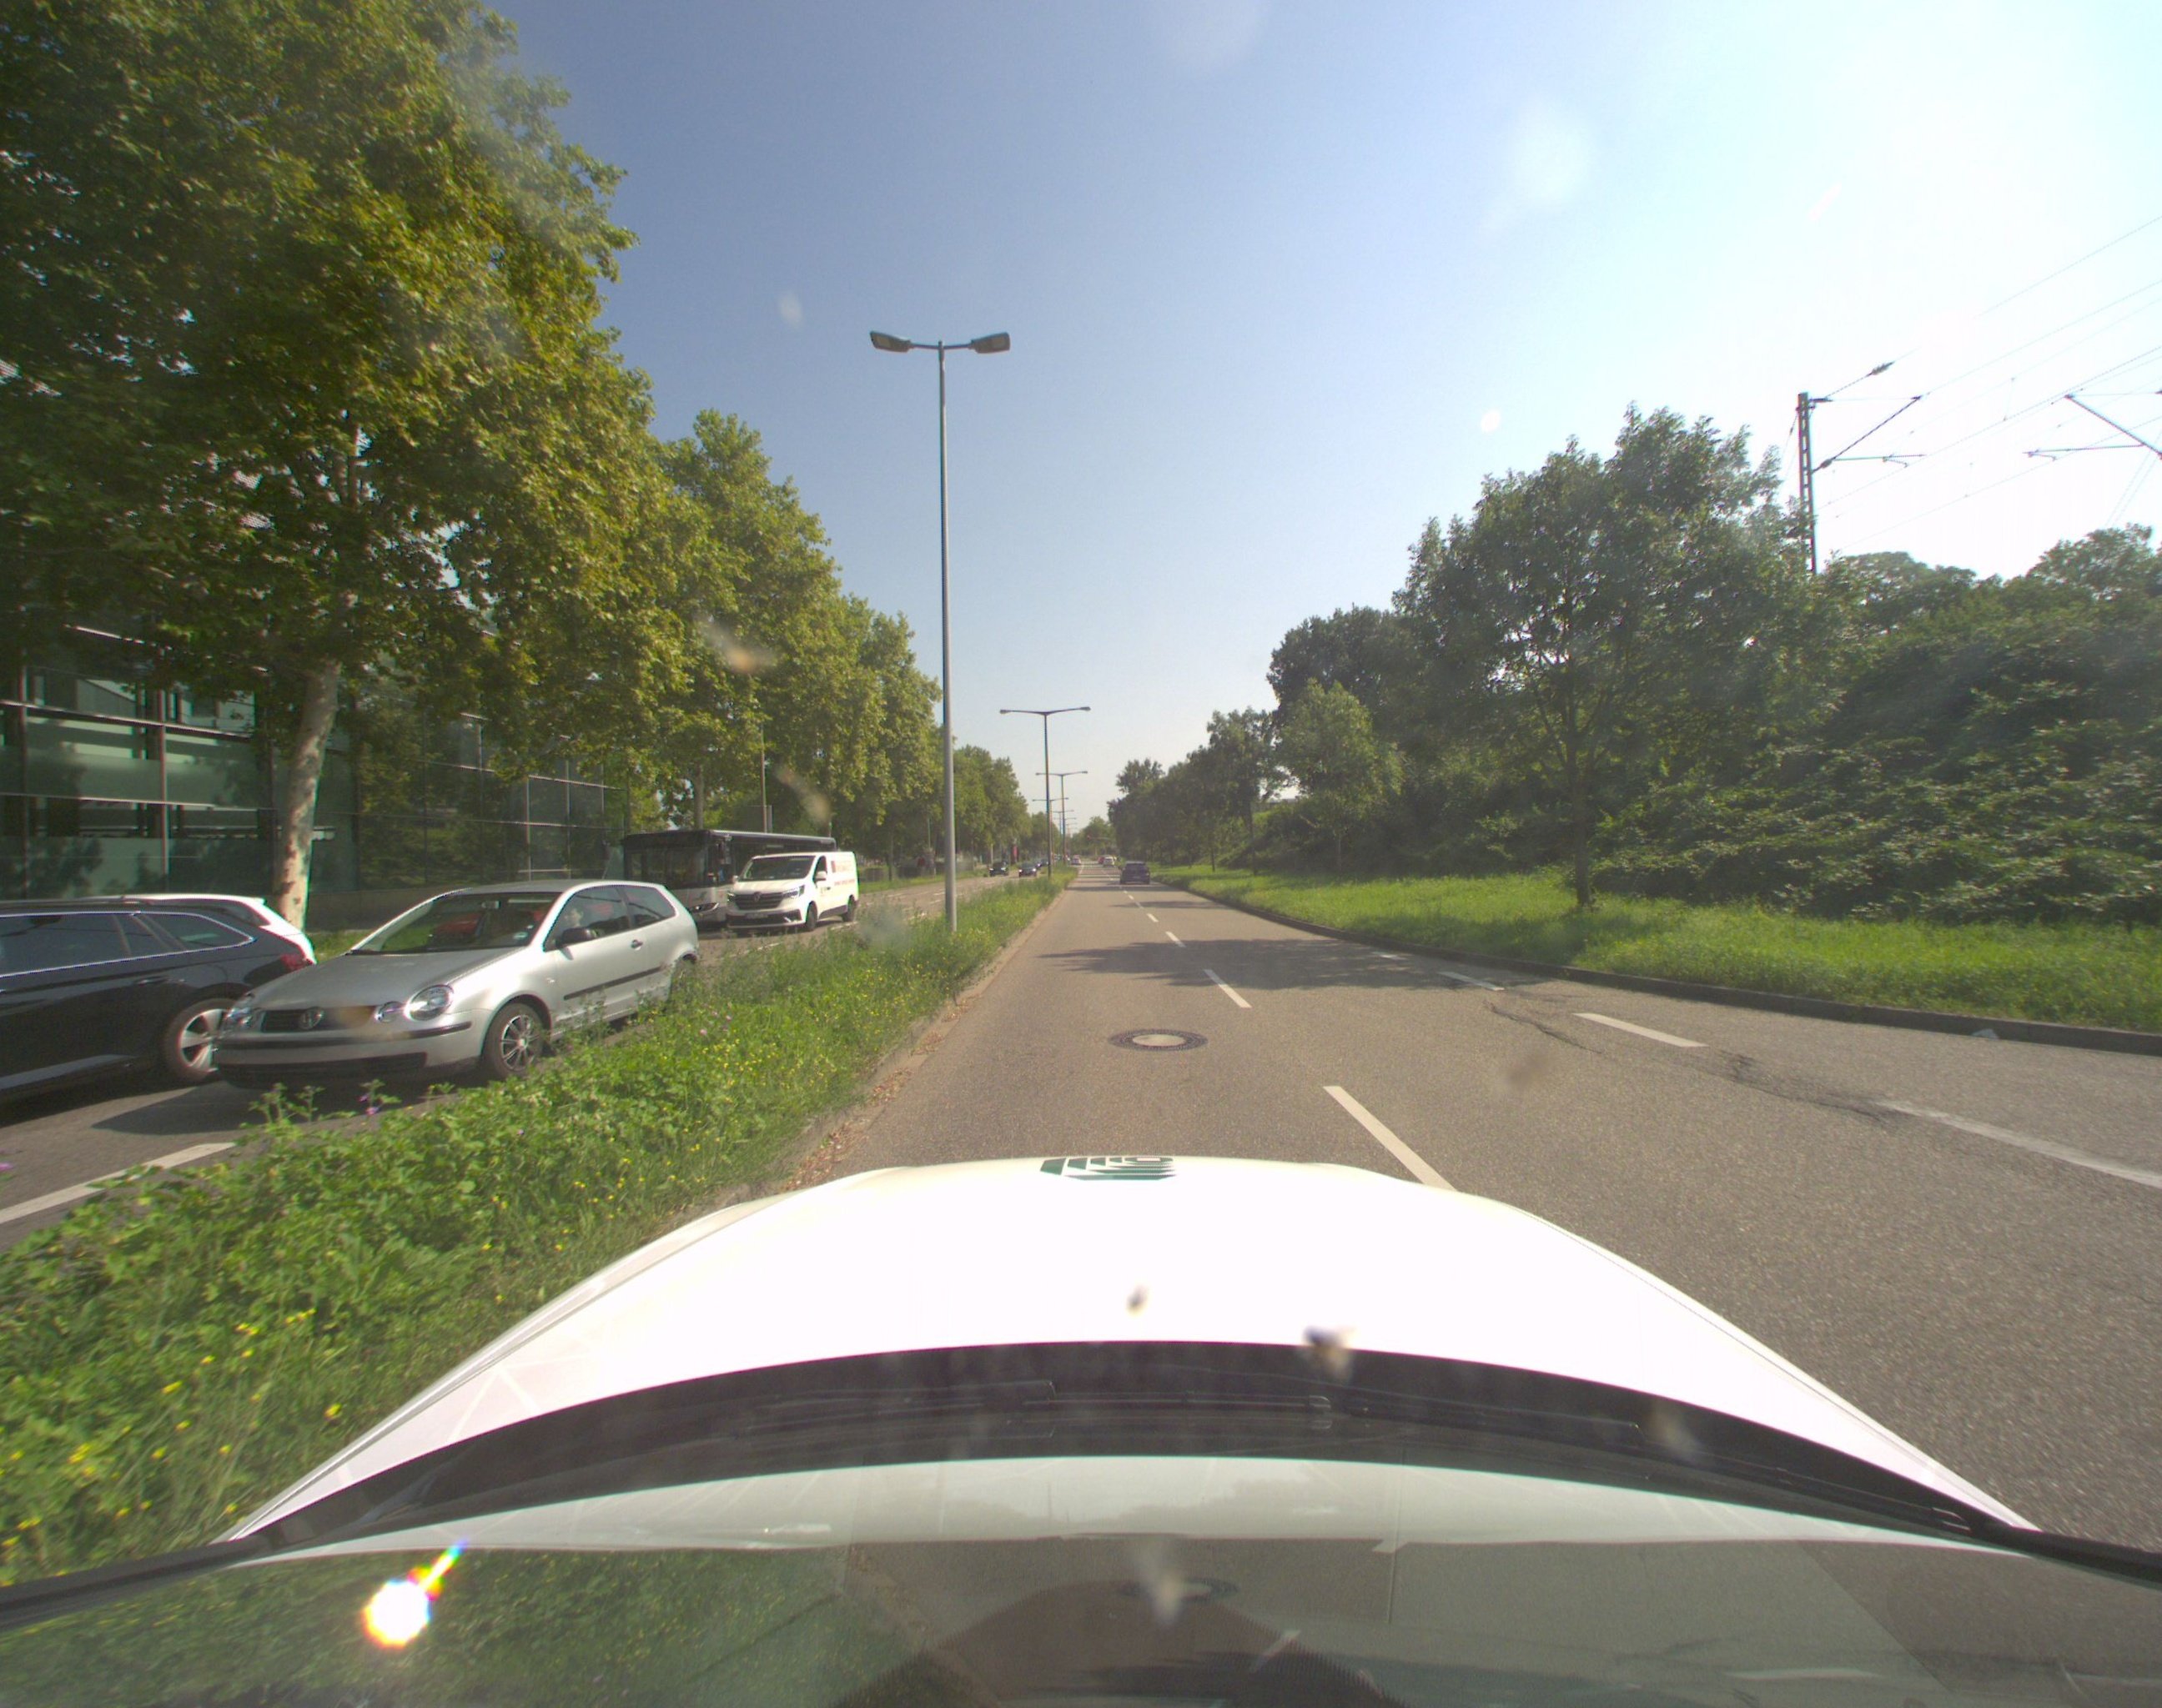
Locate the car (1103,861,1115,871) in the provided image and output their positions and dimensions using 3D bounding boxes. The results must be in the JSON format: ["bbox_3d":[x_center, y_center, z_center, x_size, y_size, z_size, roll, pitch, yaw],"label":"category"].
[{"bbox_3d":[4.804,2.035,139.947,1.987,1.654,3.999,-2,-1,0],"label":"car"}]

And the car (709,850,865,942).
[{"bbox_3d":[-7.310,0.923,20.925,1.920,1.960,5.191,-4,0,1],"label":"car"}]

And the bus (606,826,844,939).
[{"bbox_3d":[-10.600,0.811,26.099,2.653,2.694,10.904,-3,-1,0],"label":"bus"}]

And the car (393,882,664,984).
[{"bbox_3d":[-10.584,1.411,16.239,1.773,1.511,5.212,-3,-1,0],"label":"car"}]

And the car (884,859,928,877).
[{"bbox_3d":[-24.261,1.934,112.891,5.568,2.337,2.278,0,2,-2],"label":"car"}]

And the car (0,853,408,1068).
[{"bbox_3d":[-10.268,1.028,9.226,1.921,1.896,3.974,-3,-1,-1],"label":"car"}]

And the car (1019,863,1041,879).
[{"bbox_3d":[-5.170,1.719,82.774,1.839,1.490,4.644,-3,-1,1],"label":"car"}]

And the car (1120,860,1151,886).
[{"bbox_3d":[3.423,1.176,51.720,1.774,1.427,4.001,0,2,0],"label":"car"}]

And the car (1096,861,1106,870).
[{"bbox_3d":[4.445,2.547,178.529,1.988,1.654,3.999,0,2,-1],"label":"car"}]

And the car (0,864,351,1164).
[{"bbox_3d":[-7.543,1.035,5.014,1.711,1.849,4.704,-4,-1,1],"label":"car"}]

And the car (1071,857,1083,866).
[{"bbox_3d":[-0.754,1.428,156.905,1.984,1.702,4.005,-2,-1,4],"label":"car"}]

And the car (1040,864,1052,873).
[{"bbox_3d":[-6.328,2.644,146.115,1.988,1.585,4.343,-1,-1,-2],"label":"car"}]

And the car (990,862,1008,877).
[{"bbox_3d":[-9.476,1.809,94.419,1.841,1.605,4.605,-1,-2,-3],"label":"car"}]

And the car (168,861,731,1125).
[{"bbox_3d":[-4.810,0.901,7.110,1.608,1.535,4.101,-4,-1,1],"label":"car"}]
